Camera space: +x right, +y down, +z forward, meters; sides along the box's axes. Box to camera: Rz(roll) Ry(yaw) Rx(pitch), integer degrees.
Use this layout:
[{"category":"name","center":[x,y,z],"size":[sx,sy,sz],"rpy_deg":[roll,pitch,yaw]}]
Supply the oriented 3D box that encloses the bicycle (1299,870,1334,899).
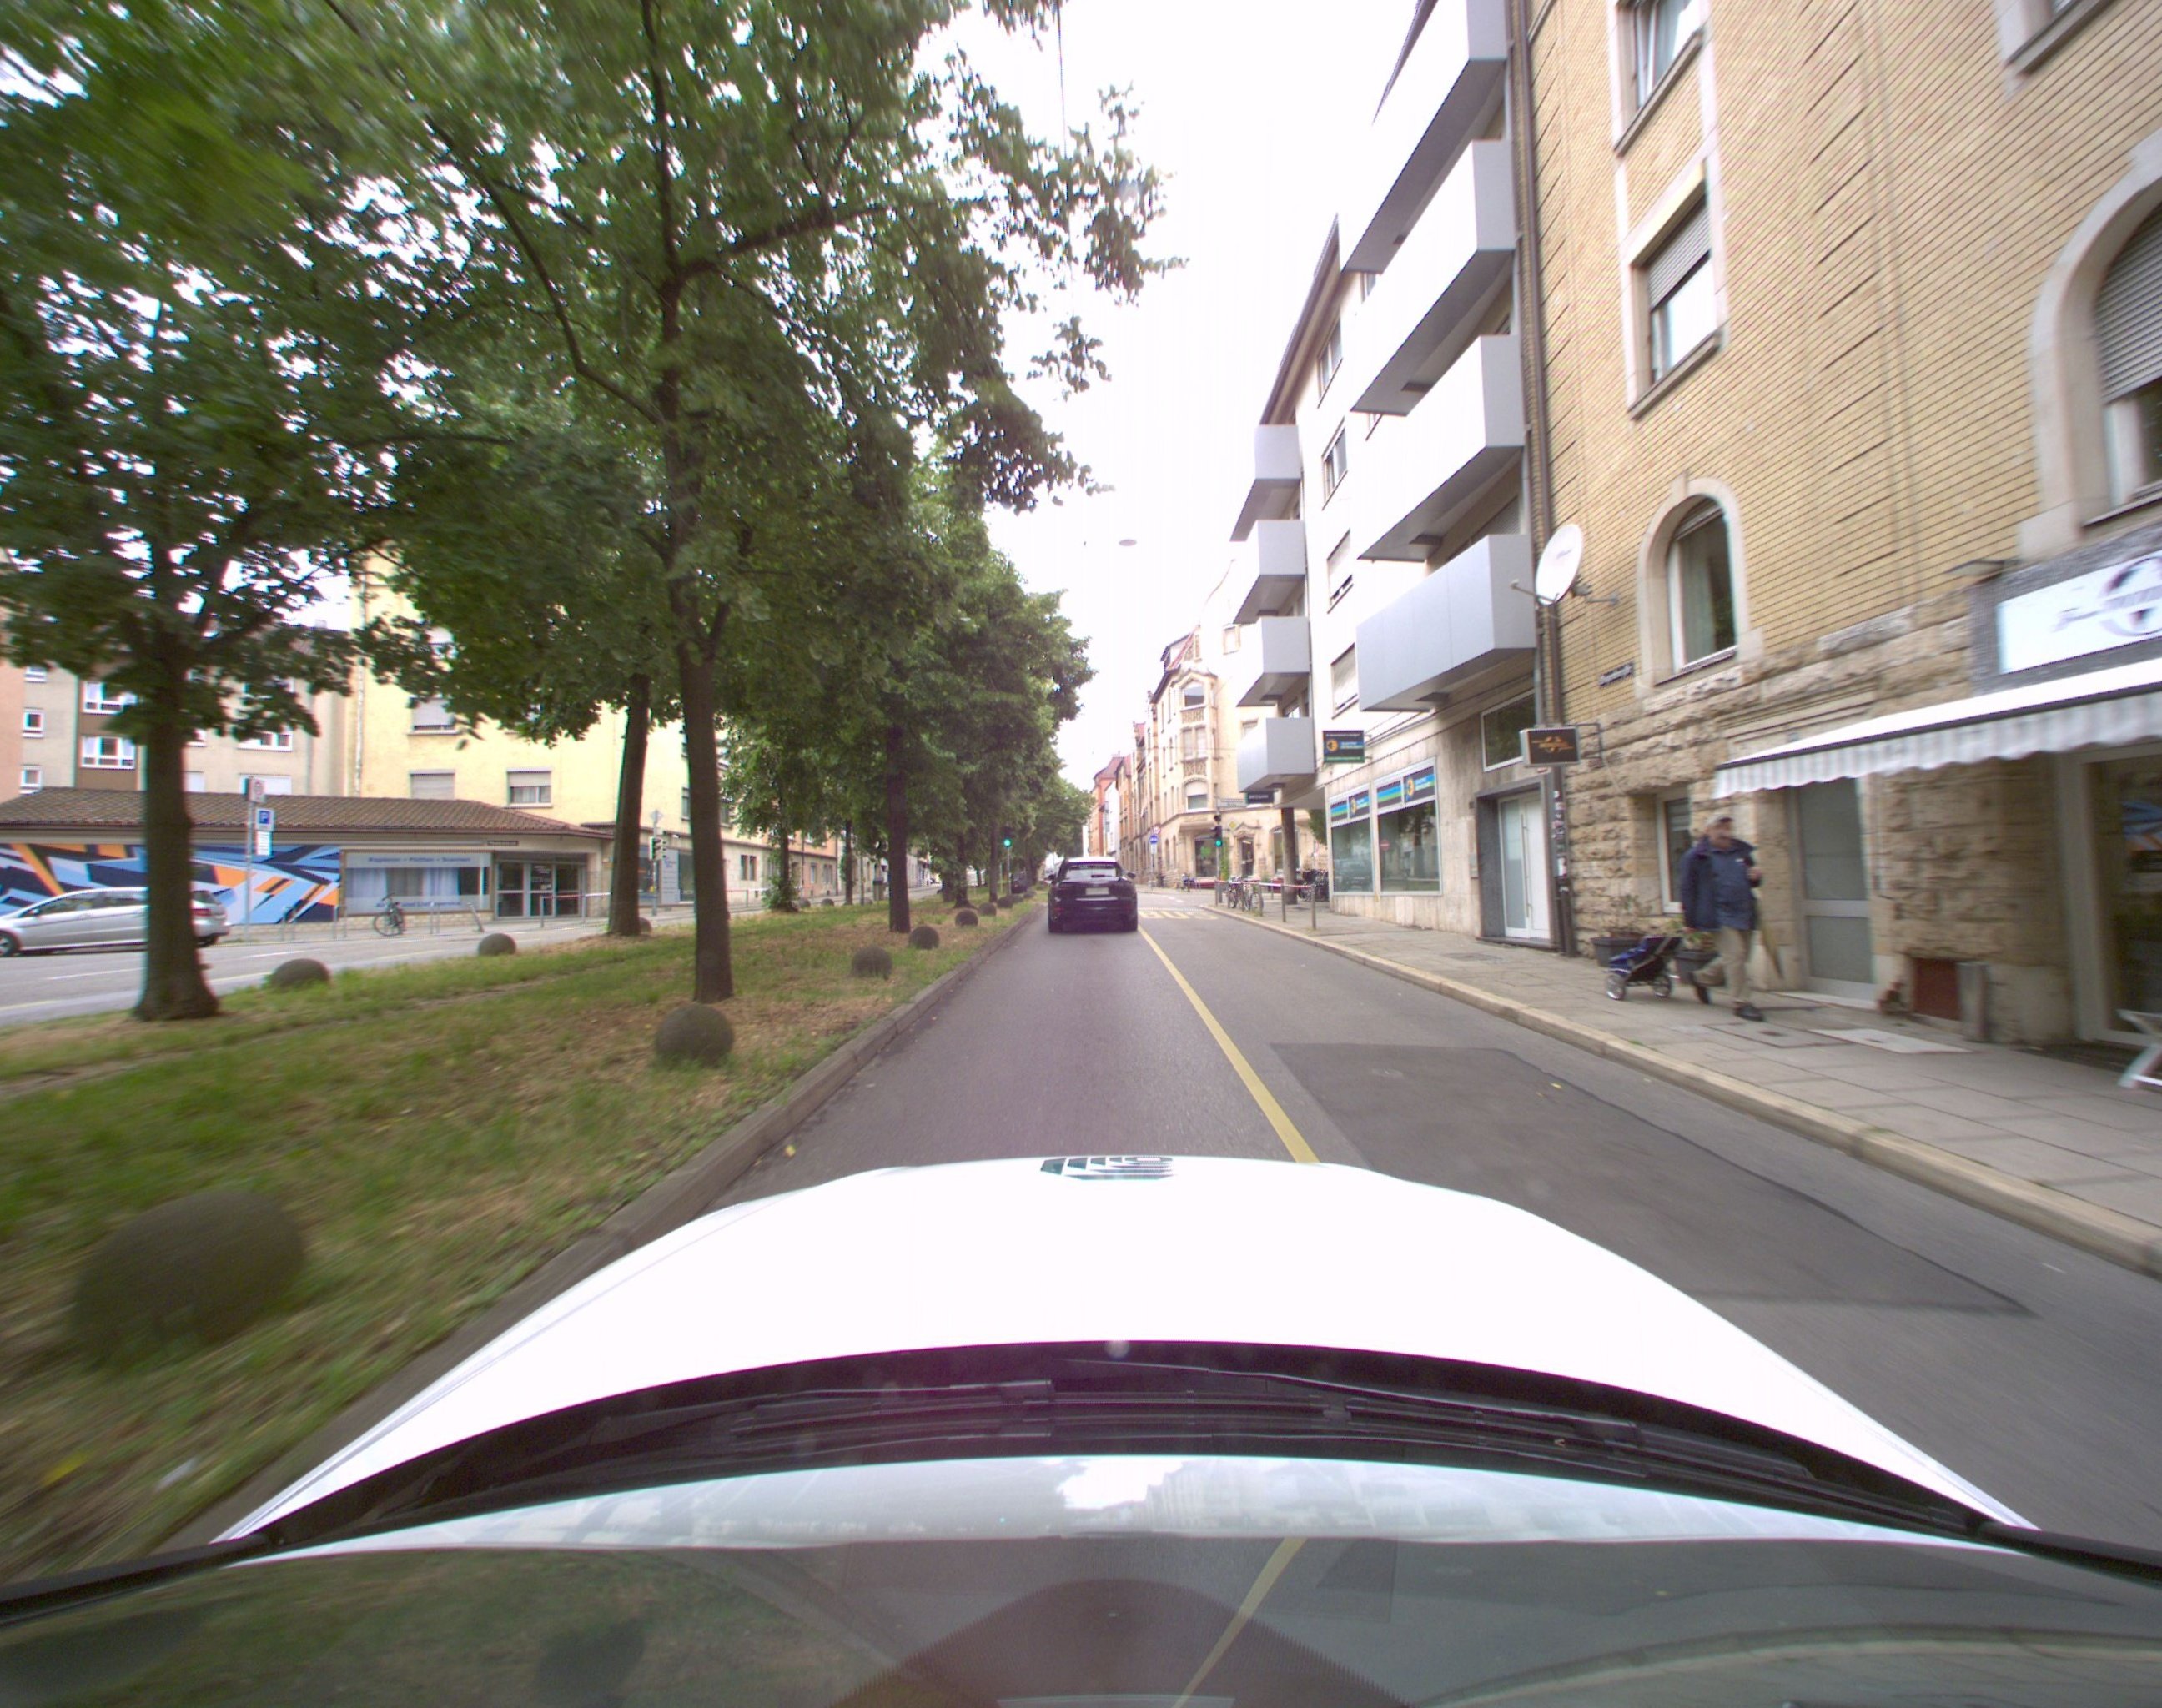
[{"category":"bicycle","center":[8.735,1.112,30.271],"size":[0.319,1.043,1.750],"rpy_deg":[0,-2,-17]}]

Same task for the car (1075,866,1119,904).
[{"category":"car","center":[0.693,1.345,34.534],"size":[1.756,1.466,3.592],"rpy_deg":[-1,-4,2]}]

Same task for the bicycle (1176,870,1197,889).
[{"category":"bicycle","center":[6.353,1.522,49.030],"size":[0.876,1.129,2.978],"rpy_deg":[-1,-2,0]}]

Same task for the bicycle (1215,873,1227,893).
[{"category":"bicycle","center":[8.136,1.670,47.303],"size":[0.348,1.059,1.833],"rpy_deg":[1,-1,-1]}]

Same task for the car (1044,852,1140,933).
[{"category":"car","center":[0.222,0.845,19.203],"size":[1.988,1.666,3.998],"rpy_deg":[-1,-1,-1]}]

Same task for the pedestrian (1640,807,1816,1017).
[{"category":"pedestrian","center":[5.651,0.488,7.178],"size":[0.748,1.693,0.859],"rpy_deg":[-3,-2,2]}]

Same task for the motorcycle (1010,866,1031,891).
[{"category":"motorcycle","center":[-3.689,1.521,49.965],"size":[1.016,1.446,2.246],"rpy_deg":[-3,-2,0]}]

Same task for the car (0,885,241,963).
[{"category":"car","center":[-23.970,1.689,20.144],"size":[4.056,1.479,1.803],"rpy_deg":[-4,0,-32]}]

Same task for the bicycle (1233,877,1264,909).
[{"category":"bicycle","center":[4.976,1.150,24.320],"size":[0.567,0.931,1.775],"rpy_deg":[-1,-2,1]}]

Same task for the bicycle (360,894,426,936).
[{"category":"bicycle","center":[-19.285,1.696,22.884],"size":[0.765,1.085,2.022],"rpy_deg":[1,-2,-21]}]

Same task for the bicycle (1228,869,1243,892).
[{"category":"bicycle","center":[8.915,1.507,46.911],"size":[0.445,1.161,1.834],"rpy_deg":[-2,4,-1]}]

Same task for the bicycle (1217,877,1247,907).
[{"category":"bicycle","center":[4.930,1.228,26.698],"size":[0.286,0.931,1.753],"rpy_deg":[0,-2,-12]}]

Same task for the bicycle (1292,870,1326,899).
[{"category":"bicycle","center":[8.428,1.128,30.166],"size":[0.319,1.043,1.750],"rpy_deg":[0,-2,-17]}]

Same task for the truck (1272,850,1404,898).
[{"category":"truck","center":[12.178,0.966,38.712],"size":[5.559,2.133,2.374],"rpy_deg":[1,-1,-10]}]

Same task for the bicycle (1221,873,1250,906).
[{"category":"bicycle","center":[5.114,1.173,27.017],"size":[0.286,1.054,1.753],"rpy_deg":[0,-2,-12]}]

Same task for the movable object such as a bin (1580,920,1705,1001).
[{"category":"movable object such as a bin","center":[5.454,1.021,7.961],"size":[0.605,0.668,0.859],"rpy_deg":[-3,-2,2]}]

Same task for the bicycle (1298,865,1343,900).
[{"category":"bicycle","center":[8.455,1.000,28.816],"size":[0.320,1.199,1.743],"rpy_deg":[0,-2,-31]}]

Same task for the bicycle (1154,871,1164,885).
[{"category":"bicycle","center":[5.788,1.800,60.218],"size":[0.445,1.037,2.247],"rpy_deg":[-2,-2,-1]}]
